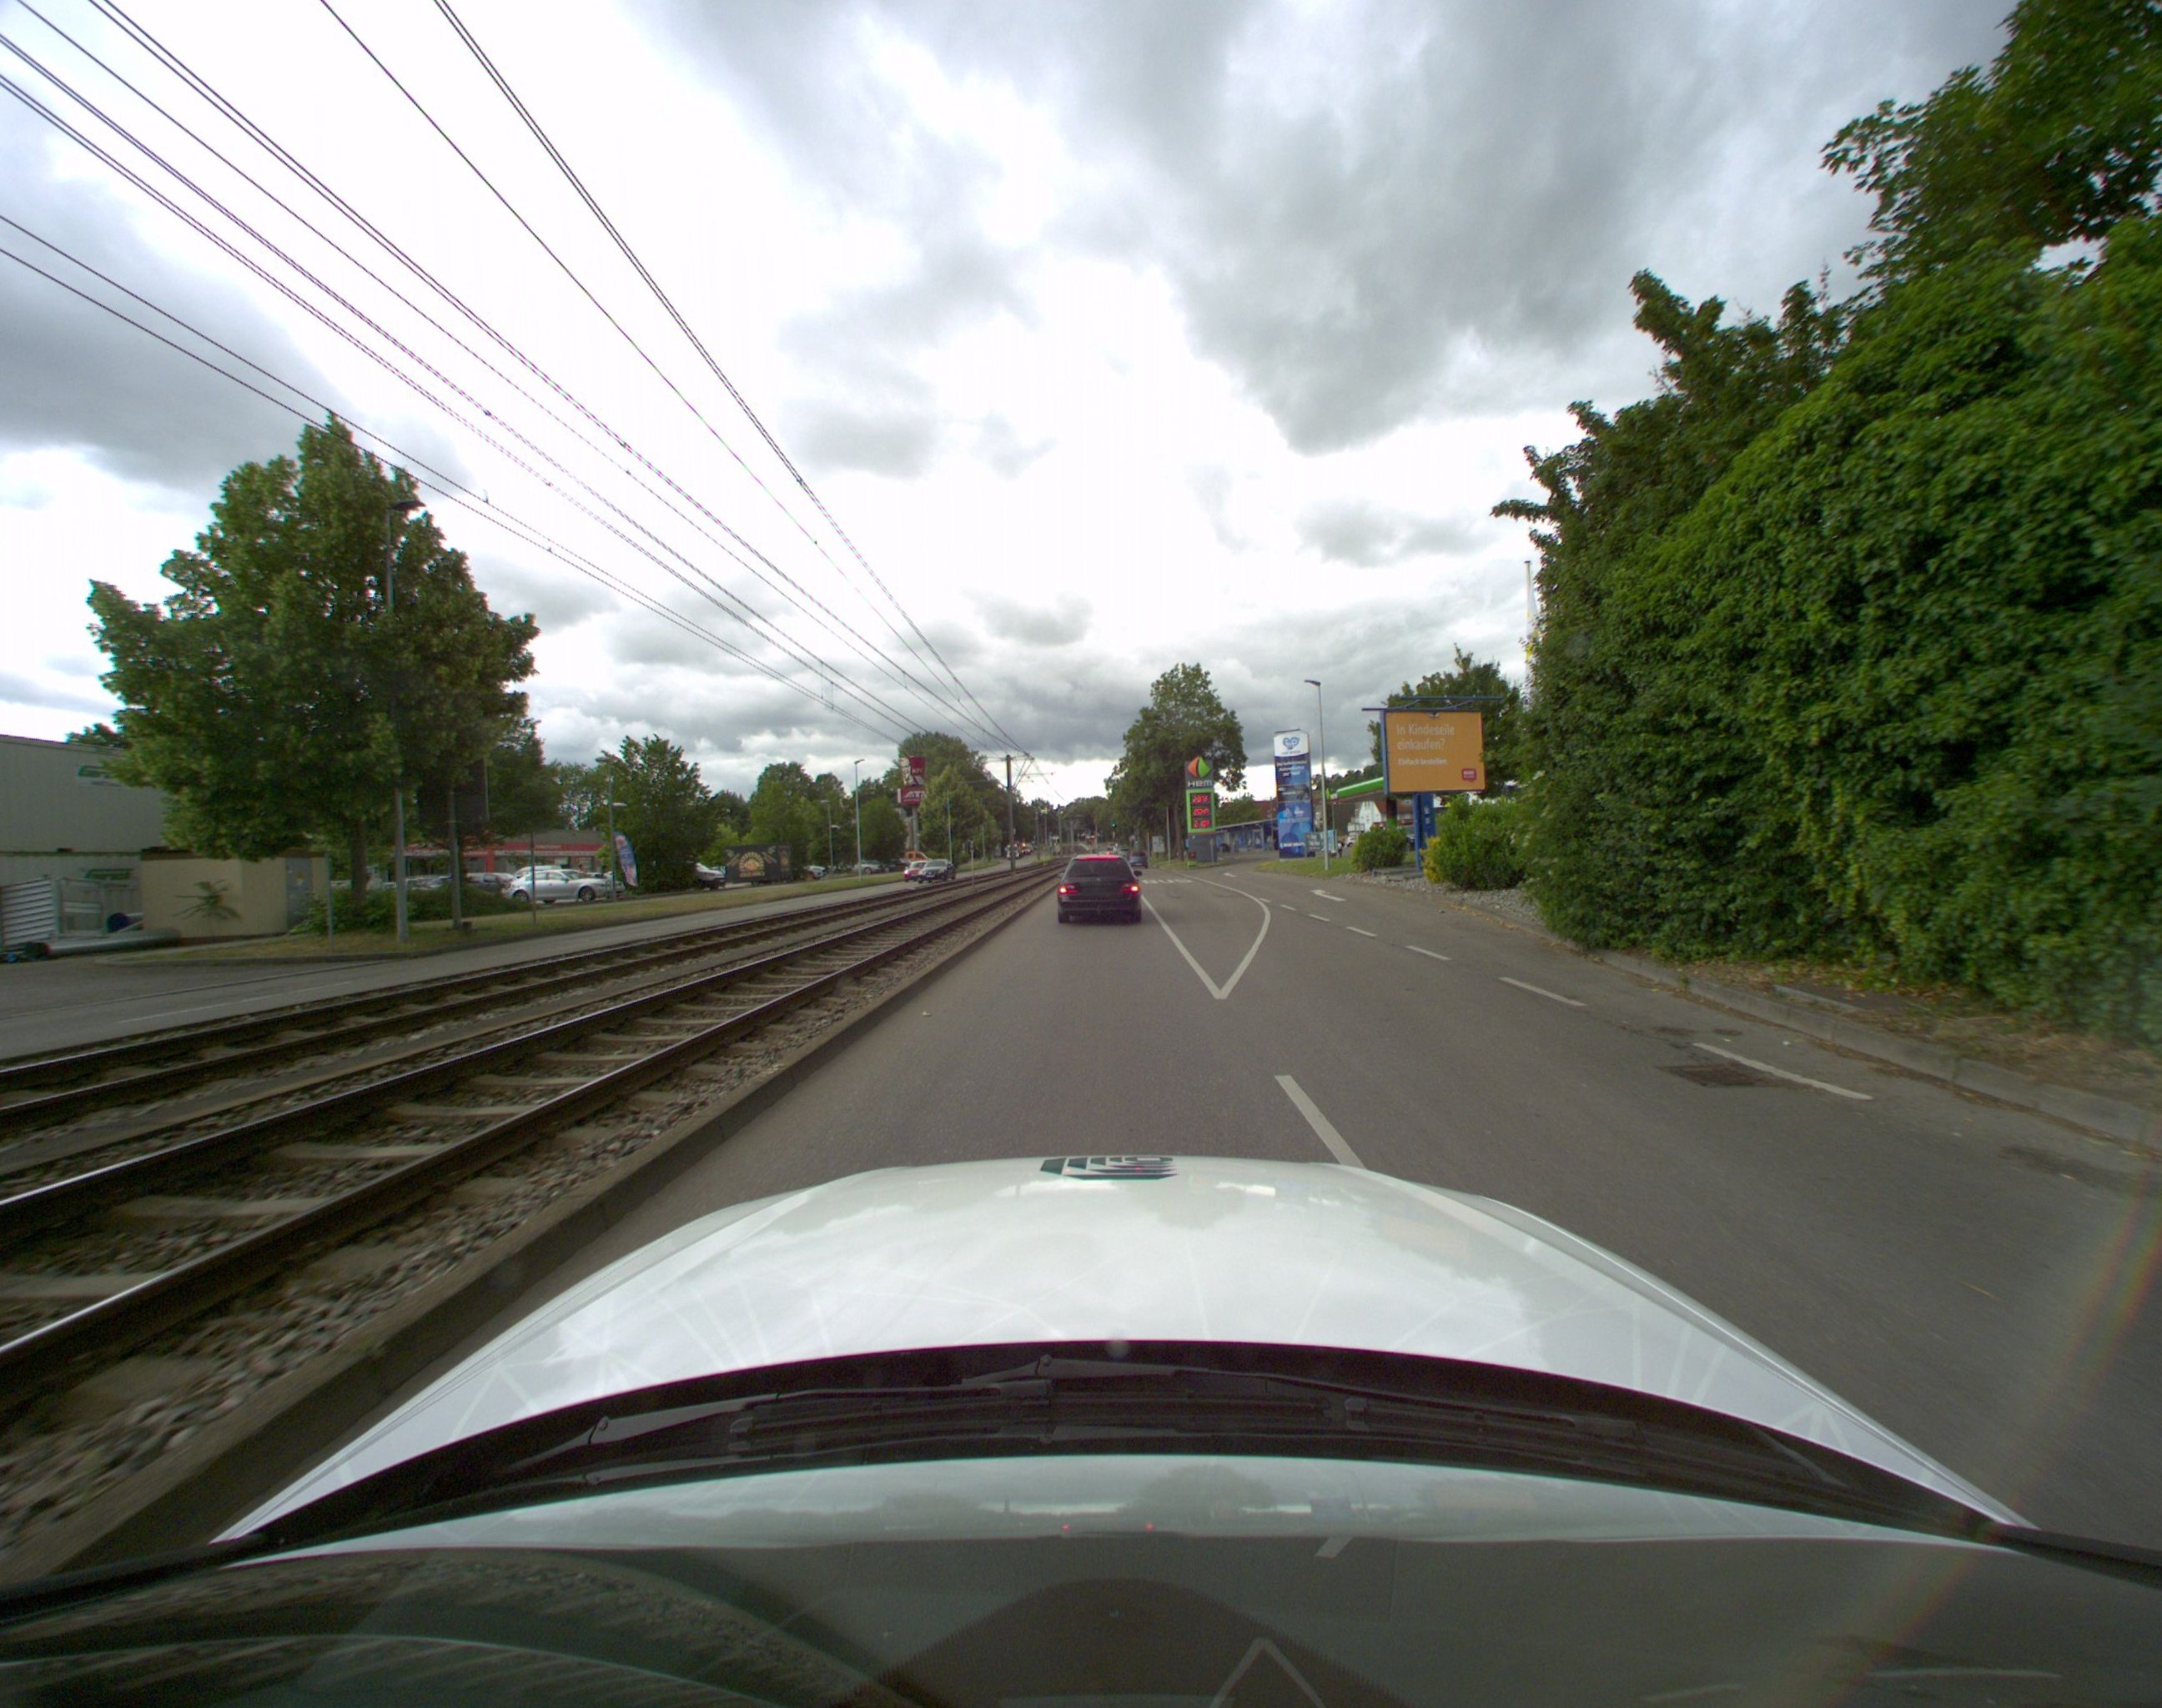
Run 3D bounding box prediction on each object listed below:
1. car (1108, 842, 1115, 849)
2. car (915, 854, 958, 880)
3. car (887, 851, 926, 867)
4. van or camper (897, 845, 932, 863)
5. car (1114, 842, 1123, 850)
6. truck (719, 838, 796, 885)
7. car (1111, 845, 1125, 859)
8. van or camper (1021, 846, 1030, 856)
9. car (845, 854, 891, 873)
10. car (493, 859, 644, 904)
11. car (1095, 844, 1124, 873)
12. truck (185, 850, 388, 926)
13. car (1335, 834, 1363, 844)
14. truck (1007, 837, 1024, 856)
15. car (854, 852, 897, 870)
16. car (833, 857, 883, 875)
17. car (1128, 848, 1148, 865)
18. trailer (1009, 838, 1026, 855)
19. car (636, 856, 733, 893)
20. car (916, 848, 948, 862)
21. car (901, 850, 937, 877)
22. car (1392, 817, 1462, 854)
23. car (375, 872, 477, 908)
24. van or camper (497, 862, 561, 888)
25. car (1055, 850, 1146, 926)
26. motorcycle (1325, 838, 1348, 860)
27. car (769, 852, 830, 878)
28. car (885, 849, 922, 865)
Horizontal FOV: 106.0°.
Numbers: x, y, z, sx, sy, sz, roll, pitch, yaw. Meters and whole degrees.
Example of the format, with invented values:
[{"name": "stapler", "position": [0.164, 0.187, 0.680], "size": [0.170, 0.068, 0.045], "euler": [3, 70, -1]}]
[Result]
[{"name": "car", "position": [8.024, -2.313, 215.303], "size": [1.986, 1.838, 4.001], "euler": [-1, 0, 1]}, {"name": "car", "position": [-9.042, 0.792, 51.228], "size": [1.753, 1.401, 4.444], "euler": [-5, 1, 1]}, {"name": "car", "position": [-19.841, 0.531, 92.827], "size": [3.978, 1.599, 1.876], "euler": [-3, 1, -3]}, {"name": "van or camper", "position": [-21.027, -0.029, 102.938], "size": [3.978, 2.135, 1.876], "euler": [-1, 0, -3]}, {"name": "car", "position": [8.813, -1.881, 193.420], "size": [1.986, 1.714, 4.002], "euler": [-3, 1, 1]}, {"name": "truck", "position": [-21.307, 0.452, 53.726], "size": [3.976, 2.821, 2.375], "euler": [-3, 1, -1]}, {"name": "car", "position": [3.889, -0.215, 85.715], "size": [1.460, 1.414, 3.355], "euler": [0, 0, 2]}, {"name": "van or camper", "position": [-14.057, -0.852, 206.888], "size": [1.987, 2.354, 5.764], "euler": [-3, 1, 0]}, {"name": "car", "position": [-21.070, 0.891, 80.672], "size": [3.978, 1.635, 1.876], "euler": [-3, 1, -3]}, {"name": "car", "position": [-22.049, 1.155, 35.215], "size": [4.763, 1.628, 2.654], "euler": [-3, 1, 2]}, {"name": "car", "position": [1.806, 0.280, 51.751], "size": [1.774, 1.750, 3.719], "euler": [0, 0, 2]}, {"name": "truck", "position": [-28.518, 1.100, 29.563], "size": [1.986, 2.382, 5.266], "euler": [-3, 1, 2]}, {"name": "car", "position": [45.524, -2.526, 138.312], "size": [4.203, 1.684, 1.777], "euler": [-1, 0, -1]}, {"name": "truck", "position": [-13.923, -1.560, 173.381], "size": [2.699, 3.663, 11.106], "euler": [-3, 1, -1]}, {"name": "car", "position": [-21.562, 0.737, 85.366], "size": [3.978, 1.599, 1.876], "euler": [-3, 1, -3]}, {"name": "car", "position": [-21.254, 1.104, 77.655], "size": [4.294, 1.472, 1.680], "euler": [-2, 1, -1]}, {"name": "car", "position": [4.866, 0.210, 69.308], "size": [1.565, 1.414, 3.355], "euler": [0, 0, 2]}, {"name": "trailer", "position": [-14.104, -1.691, 181.512], "size": [2.697, 3.660, 13.291], "euler": [-3, 1, -1]}, {"name": "car", "position": [-21.638, 1.099, 44.608], "size": [4.207, 1.727, 1.995], "euler": [-3, 1, -1]}, {"name": "car", "position": [-20.411, 0.127, 111.586], "size": [3.978, 1.599, 1.794], "euler": [-3, 1, -3]}, {"name": "car", "position": [-11.844, 0.665, 59.789], "size": [1.786, 1.771, 3.999], "euler": [-2, 1, 0]}, {"name": "car", "position": [18.013, -0.936, 42.626], "size": [1.814, 1.674, 4.338], "euler": [-4, 0, 1]}, {"name": "car", "position": [-33.349, 1.823, 41.505], "size": [3.964, 1.596, 1.698], "euler": [-3, 1, 8]}, {"name": "van or camper", "position": [-49.430, 1.863, 72.973], "size": [4.252, 2.145, 1.820], "euler": [-3, 0, -4]}, {"name": "car", "position": [0.452, 0.670, 18.264], "size": [1.802, 1.474, 3.882], "euler": [-1, 1, 2]}, {"name": "motorcycle", "position": [15.854, -0.321, 50.592], "size": [0.852, 1.331, 1.991], "euler": [-3, 0, 2]}, {"name": "car", "position": [-21.757, 0.858, 63.107], "size": [3.978, 1.797, 1.876], "euler": [-3, 1, -3]}, {"name": "car", "position": [-21.305, 0.341, 97.887], "size": [3.978, 1.797, 1.876], "euler": [-1, 1, -3]}]
